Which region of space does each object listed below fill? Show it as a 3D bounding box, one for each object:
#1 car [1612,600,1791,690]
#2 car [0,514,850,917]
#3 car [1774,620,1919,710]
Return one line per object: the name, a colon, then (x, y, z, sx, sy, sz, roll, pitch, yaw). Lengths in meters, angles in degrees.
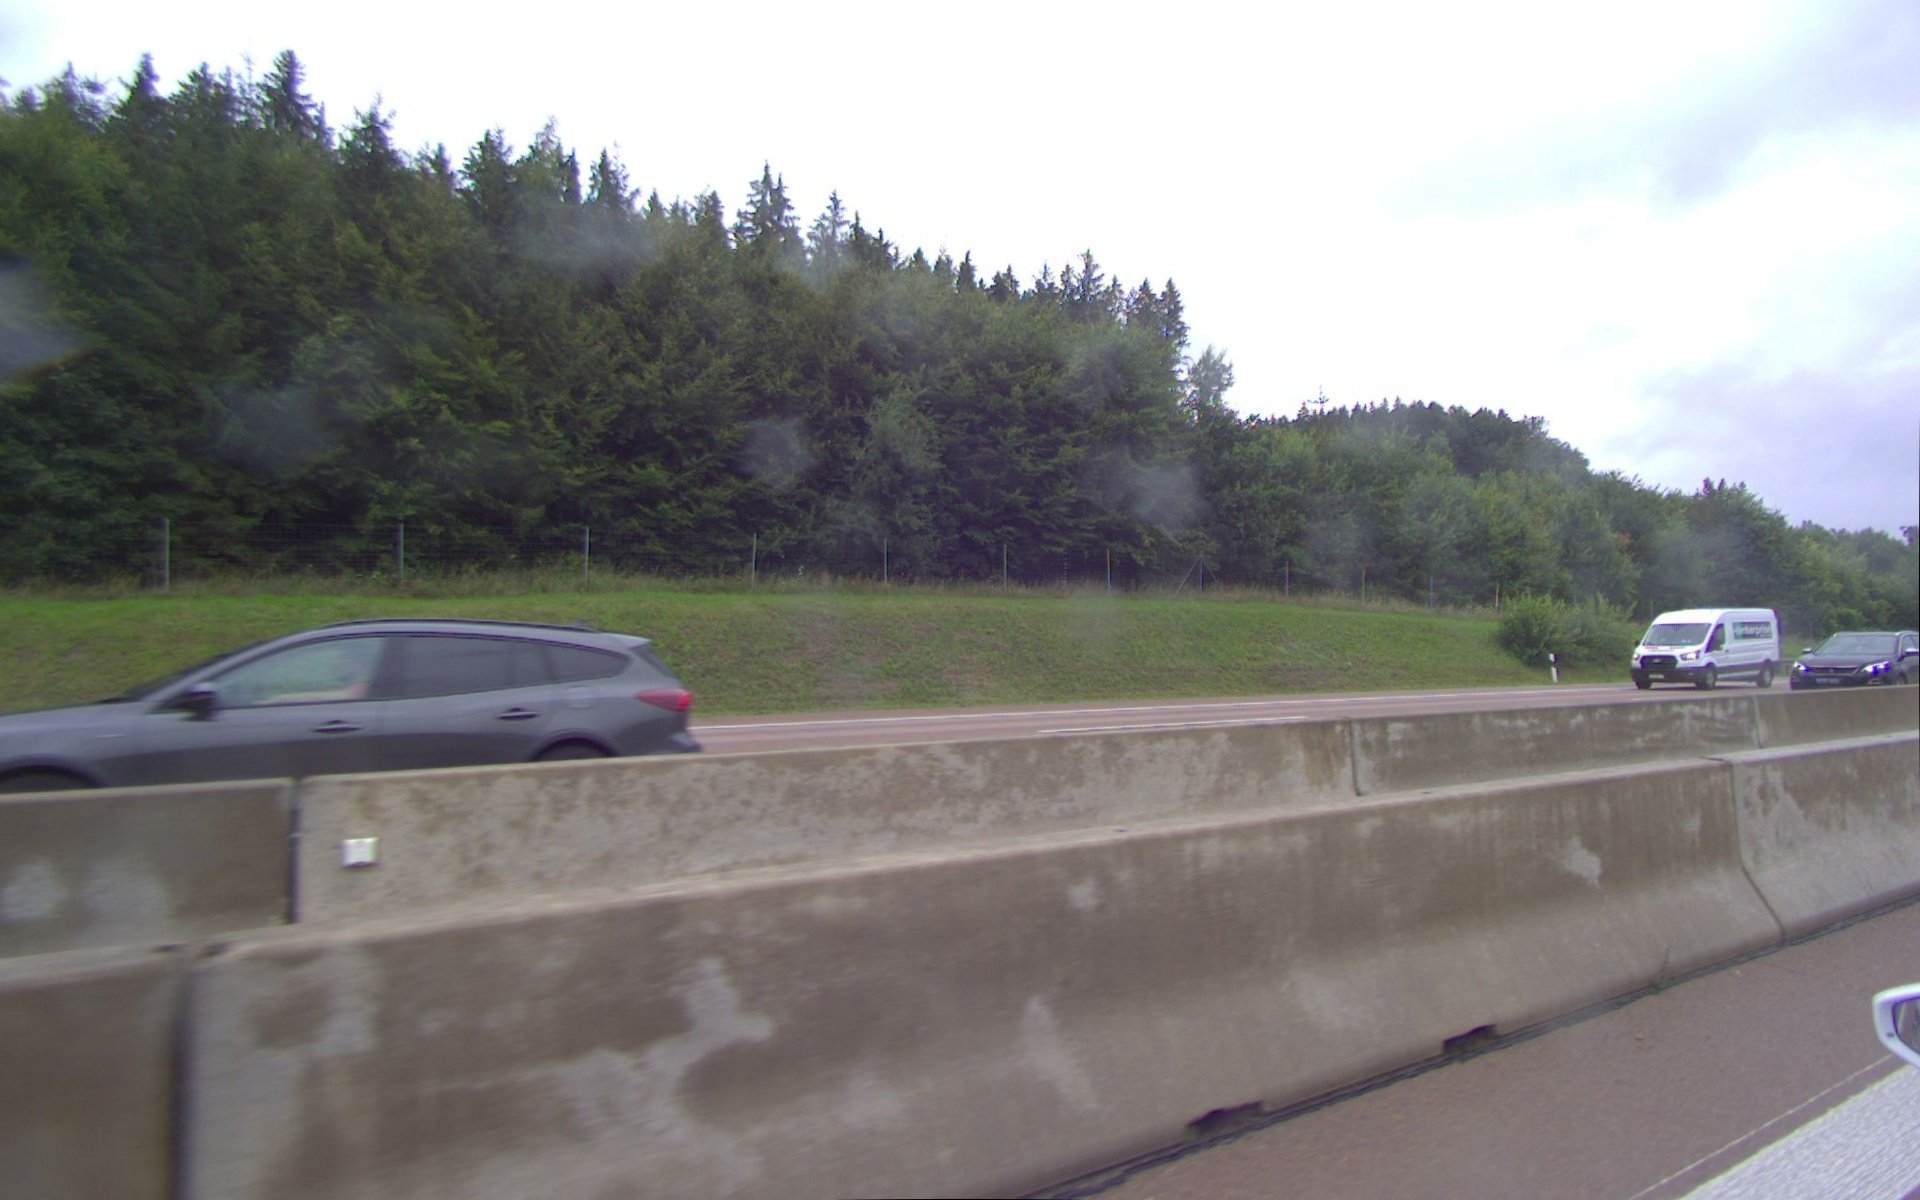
car: (23.566, 1.439, 31.838, 6.180, 2.618, 2.213, 3, 0, -30)
car: (-3.690, 0.654, 6.961, 5.465, 2.040, 1.983, 3, 0, -32)
car: (20.662, 1.401, 22.721, 4.630, 1.851, 1.985, 1, -1, -30)
